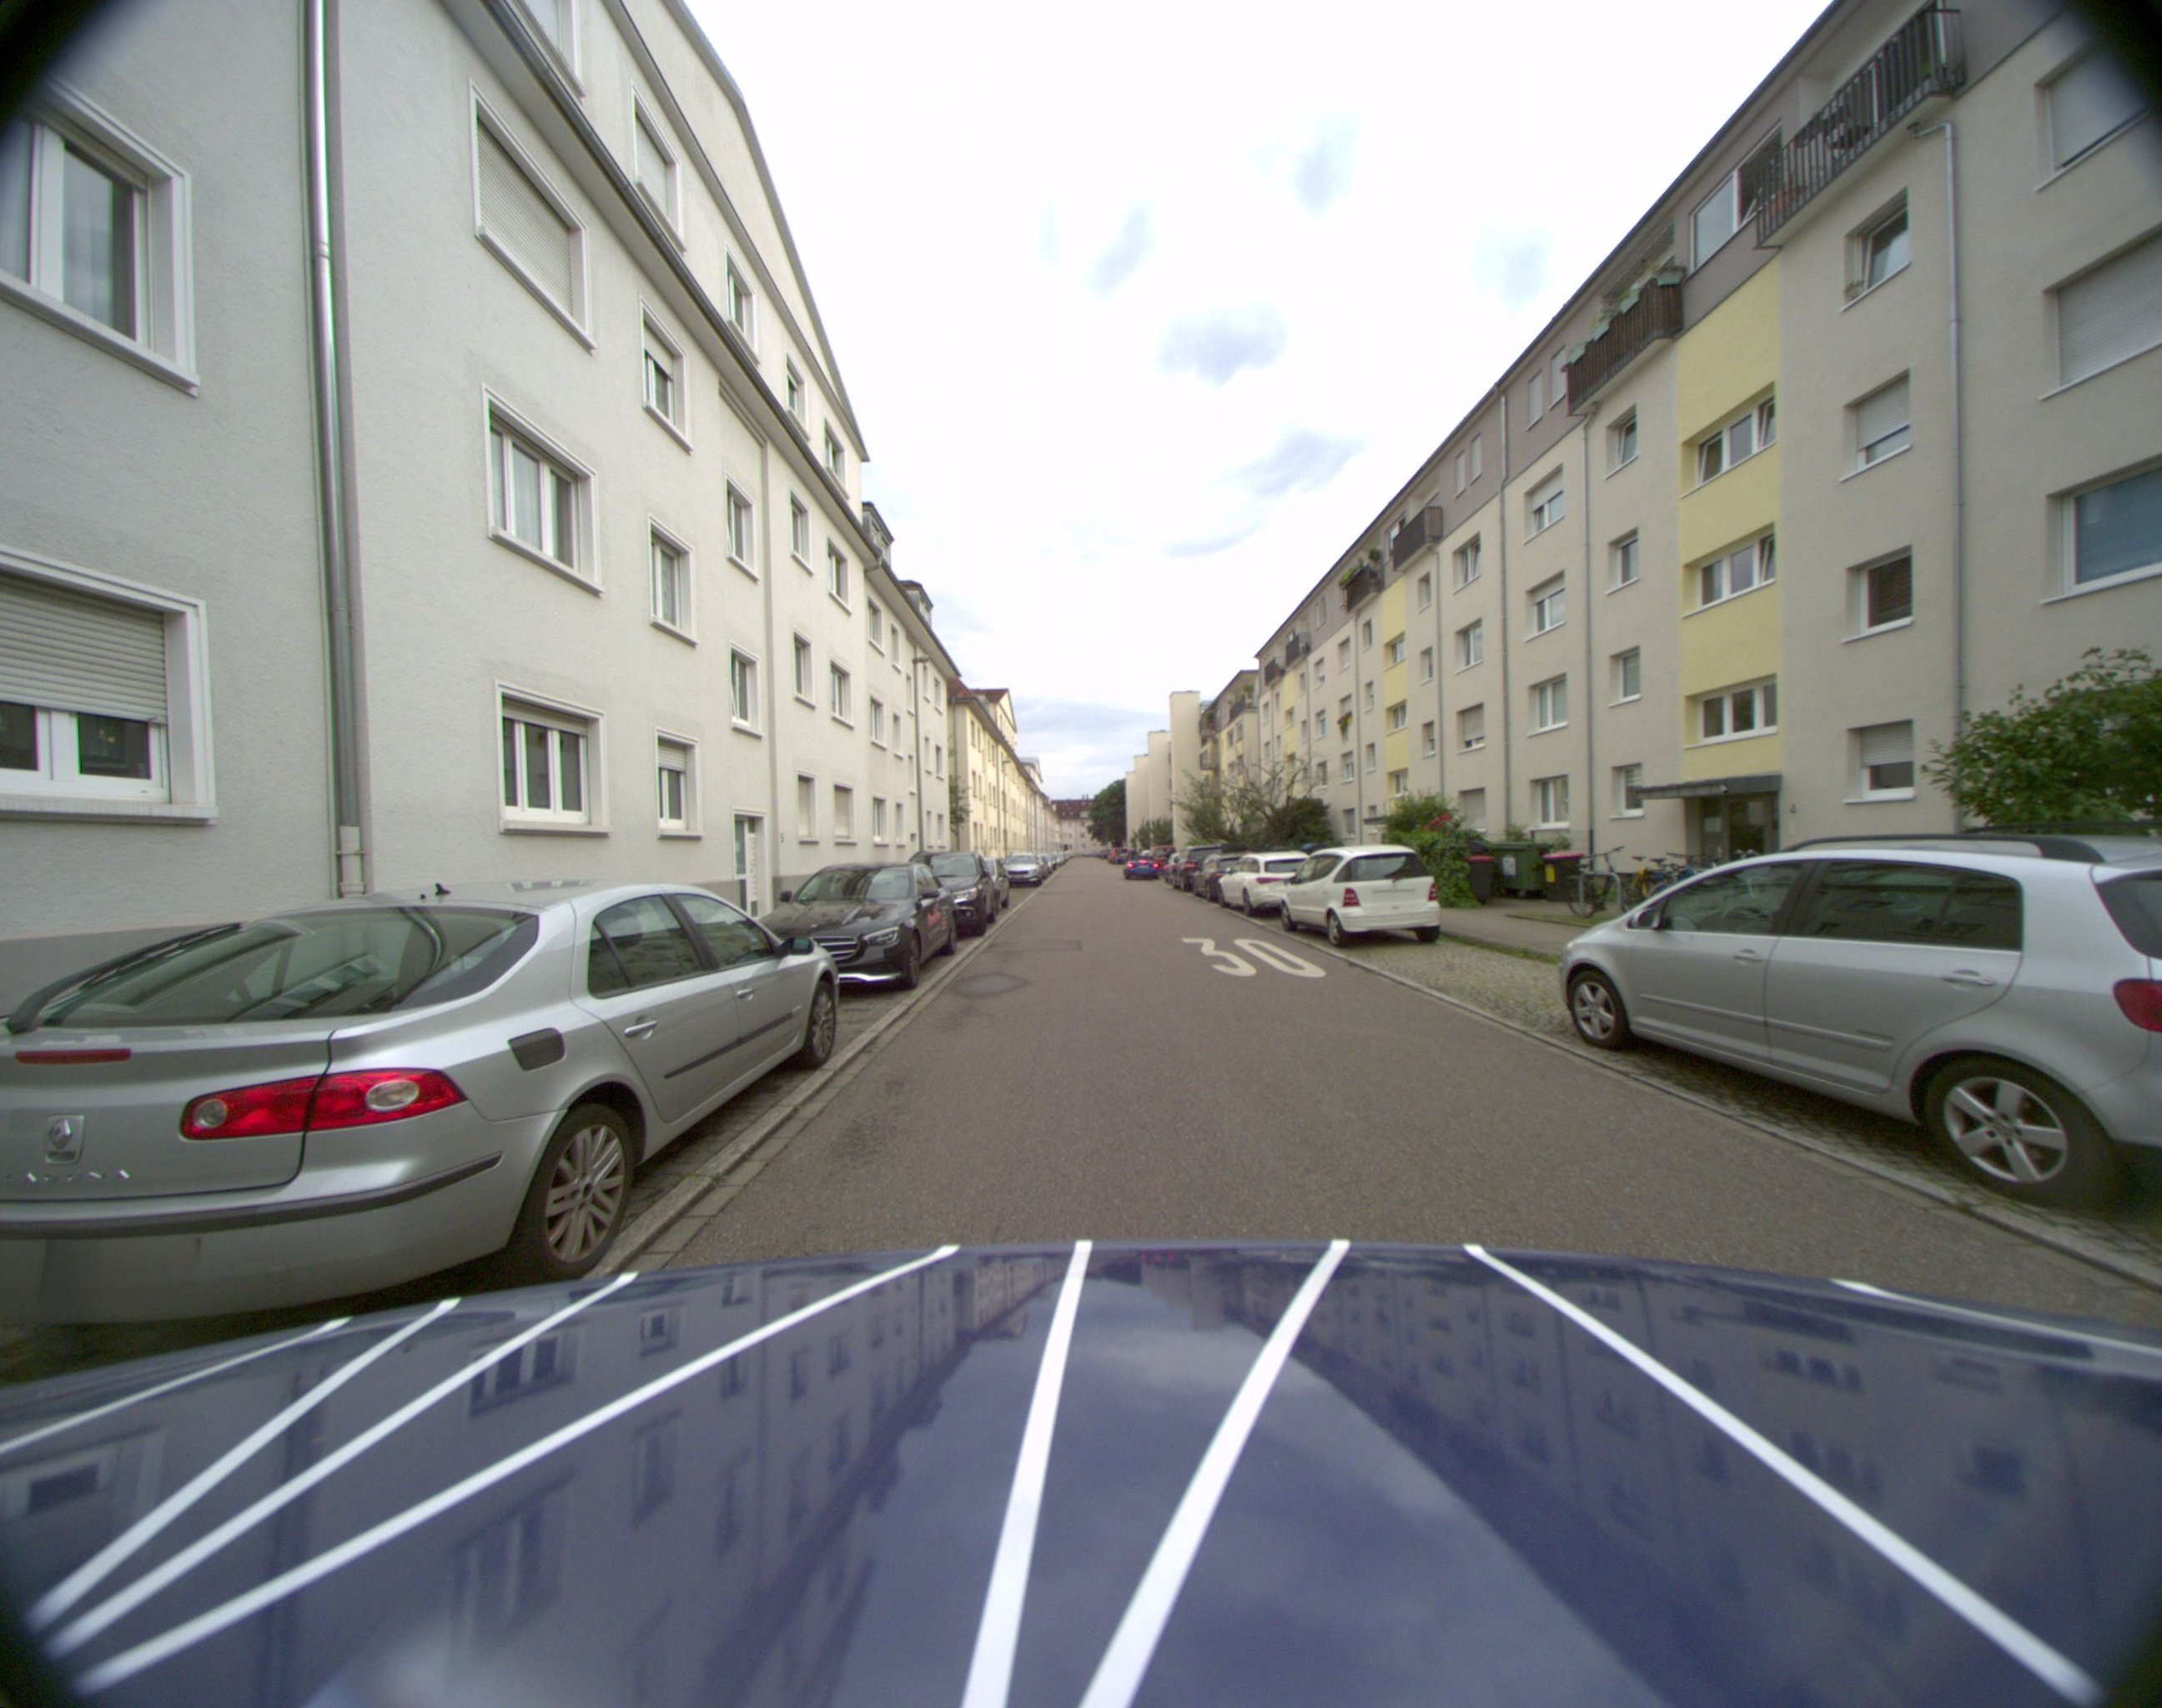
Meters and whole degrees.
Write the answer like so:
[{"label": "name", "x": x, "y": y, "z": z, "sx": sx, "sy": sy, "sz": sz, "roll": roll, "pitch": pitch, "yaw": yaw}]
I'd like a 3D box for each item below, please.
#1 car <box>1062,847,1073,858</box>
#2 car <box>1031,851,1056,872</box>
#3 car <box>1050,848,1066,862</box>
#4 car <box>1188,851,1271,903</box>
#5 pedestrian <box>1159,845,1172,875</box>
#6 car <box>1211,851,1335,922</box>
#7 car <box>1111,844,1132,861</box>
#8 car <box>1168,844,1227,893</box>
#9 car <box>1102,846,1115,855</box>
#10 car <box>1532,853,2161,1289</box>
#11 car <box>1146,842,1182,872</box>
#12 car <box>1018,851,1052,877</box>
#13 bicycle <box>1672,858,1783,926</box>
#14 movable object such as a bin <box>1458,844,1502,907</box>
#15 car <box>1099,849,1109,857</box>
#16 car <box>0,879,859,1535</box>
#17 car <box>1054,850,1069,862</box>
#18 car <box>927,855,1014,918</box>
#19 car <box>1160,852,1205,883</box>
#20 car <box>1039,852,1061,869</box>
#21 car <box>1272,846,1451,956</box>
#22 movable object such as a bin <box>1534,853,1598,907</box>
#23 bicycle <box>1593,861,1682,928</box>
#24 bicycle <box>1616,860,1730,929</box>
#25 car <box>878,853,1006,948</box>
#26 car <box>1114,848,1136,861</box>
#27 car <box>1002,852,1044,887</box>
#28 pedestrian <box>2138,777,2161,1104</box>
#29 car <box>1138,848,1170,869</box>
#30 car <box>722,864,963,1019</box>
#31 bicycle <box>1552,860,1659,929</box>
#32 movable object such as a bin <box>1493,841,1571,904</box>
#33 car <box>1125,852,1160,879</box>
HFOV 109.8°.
[{"label": "car", "x": -2.196, "y": -0.245, "z": 121.947, "sx": 1.737, "sy": 1.670, "sz": 3.591, "roll": -1, "pitch": 0, "yaw": -1}, {"label": "car", "x": -2.745, "y": 0.533, "z": 56.247, "sx": 1.737, "sy": 1.402, "sz": 4.217, "roll": -1, "pitch": 0, "yaw": -1}, {"label": "car", "x": -2.483, "y": 0.111, "z": 83.131, "sx": 1.737, "sy": 1.443, "sz": 4.217, "roll": -1, "pitch": 0, "yaw": -1}, {"label": "car", "x": 4.608, "y": 0.657, "z": 24.184, "sx": 1.729, "sy": 1.445, "sz": 4.482, "roll": -2, "pitch": 1, "yaw": 0}, {"label": "pedestrian", "x": 4.752, "y": 0.354, "z": 42.723, "sx": 0.603, "sy": 1.657, "sz": 0.622, "roll": -2, "pitch": 1, "yaw": -2}, {"label": "car", "x": 4.614, "y": 0.714, "z": 19.003, "sx": 1.723, "sy": 1.501, "sz": 4.686, "roll": -2, "pitch": 0, "yaw": -2}, {"label": "car", "x": 4.996, "y": -0.186, "z": 93.961, "sx": 2.188, "sy": 2.020, "sz": 4.422, "roll": -2, "pitch": 0, "yaw": -2}, {"label": "car", "x": 4.558, "y": 0.552, "z": 30.213, "sx": 1.575, "sy": 1.769, "sz": 4.451, "roll": -2, "pitch": 0, "yaw": -1}, {"label": "car", "x": 4.775, "y": -0.593, "z": 132.277, "sx": 1.745, "sy": 1.534, "sz": 3.636, "roll": -2, "pitch": 0, "yaw": -6}, {"label": "car", "x": 4.704, "y": 0.794, "z": 4.441, "sx": 1.658, "sy": 1.542, "sz": 3.914, "roll": -2, "pitch": 0, "yaw": -2}, {"label": "car", "x": 5.141, "y": 0.198, "z": 47.573, "sx": 1.707, "sy": 1.795, "sz": 3.541, "roll": -2, "pitch": 0, "yaw": -2}, {"label": "car", "x": -2.701, "y": 0.554, "z": 45.005, "sx": 1.737, "sy": 1.418, "sz": 4.217, "roll": -1, "pitch": 0, "yaw": 0}, {"label": "bicycle", "x": 10.562, "y": 0.587, "z": 12.478, "sx": 0.421, "sy": 1.018, "sz": 1.558, "roll": -2, "pitch": 0, "yaw": -3}, {"label": "movable object such as a bin", "x": 9.042, "y": 0.477, "z": 17.230, "sx": 0.659, "sy": 1.360, "sz": 0.587, "roll": -2, "pitch": 2, "yaw": -4}, {"label": "car", "x": 4.458, "y": -0.133, "z": 146.642, "sx": 1.707, "sy": 1.528, "sz": 3.541, "roll": -2, "pitch": 0, "yaw": -2}, {"label": "car", "x": -2.687, "y": 0.954, "z": 4.089, "sx": 1.737, "sy": 1.454, "sz": 4.429, "roll": -1, "pitch": 0, "yaw": -1}, {"label": "car", "x": -2.421, "y": 0.219, "z": 92.925, "sx": 1.737, "sy": 1.443, "sz": 4.217, "roll": -1, "pitch": 0, "yaw": -1}, {"label": "car", "x": -2.850, "y": 0.783, "z": 20.314, "sx": 1.737, "sy": 1.478, "sz": 3.756, "roll": -1, "pitch": 0, "yaw": 0}, {"label": "car", "x": 4.899, "y": 0.639, "z": 37.024, "sx": 1.575, "sy": 1.389, "sz": 3.541, "roll": -2, "pitch": 0, "yaw": -2}, {"label": "car", "x": -2.582, "y": 0.490, "z": 63.956, "sx": 1.737, "sy": 1.363, "sz": 4.217, "roll": -1, "pitch": 0, "yaw": -1}, {"label": "car", "x": 4.737, "y": 0.706, "z": 13.399, "sx": 1.689, "sy": 1.629, "sz": 3.727, "roll": -2, "pitch": 0, "yaw": -1}, {"label": "movable object such as a bin", "x": 10.636, "y": 0.560, "z": 16.677, "sx": 0.871, "sy": 1.103, "sz": 0.787, "roll": -2, "pitch": 2, "yaw": -4}, {"label": "bicycle", "x": 9.179, "y": 0.641, "z": 12.589, "sx": 0.357, "sy": 1.018, "sz": 1.497, "roll": -2, "pitch": 0, "yaw": -1}, {"label": "bicycle", "x": 9.676, "y": 0.622, "z": 12.505, "sx": 0.479, "sy": 1.018, "sz": 1.754, "roll": -2, "pitch": 0, "yaw": -1}, {"label": "car", "x": -2.619, "y": 0.802, "z": 15.254, "sx": 1.853, "sy": 1.589, "sz": 4.159, "roll": -1, "pitch": 0, "yaw": -1}, {"label": "car", "x": 5.041, "y": 0.091, "z": 87.728, "sx": 2.013, "sy": 1.436, "sz": 4.196, "roll": -2, "pitch": 0, "yaw": -2}, {"label": "car", "x": -2.698, "y": 0.685, "z": 36.093, "sx": 1.737, "sy": 1.538, "sz": 3.676, "roll": -1, "pitch": 1, "yaw": -1}, {"label": "pedestrian", "x": 6.389, "y": 0.477, "z": 3.851, "sx": 0.641, "sy": 1.853, "sz": 0.974, "roll": -3, "pitch": 1, "yaw": 0}, {"label": "car", "x": 5.124, "y": 0.313, "z": 53.763, "sx": 1.707, "sy": 1.436, "sz": 3.541, "roll": -2, "pitch": 0, "yaw": -2}, {"label": "car", "x": -2.726, "y": 0.903, "z": 9.785, "sx": 1.786, "sy": 1.454, "sz": 4.322, "roll": -1, "pitch": 0, "yaw": -1}, {"label": "bicycle", "x": 8.700, "y": 0.635, "z": 12.693, "sx": 0.489, "sy": 1.018, "sz": 1.878, "roll": -2, "pitch": 0, "yaw": 0}, {"label": "movable object such as a bin", "x": 10.497, "y": 0.406, "z": 17.742, "sx": 1.059, "sy": 1.367, "sz": 1.188, "roll": -2, "pitch": 2, "yaw": -5}, {"label": "car", "x": 3.373, "y": 0.606, "z": 42.236, "sx": 1.679, "sy": 1.307, "sz": 3.907, "roll": -2, "pitch": 1, "yaw": 1}]
